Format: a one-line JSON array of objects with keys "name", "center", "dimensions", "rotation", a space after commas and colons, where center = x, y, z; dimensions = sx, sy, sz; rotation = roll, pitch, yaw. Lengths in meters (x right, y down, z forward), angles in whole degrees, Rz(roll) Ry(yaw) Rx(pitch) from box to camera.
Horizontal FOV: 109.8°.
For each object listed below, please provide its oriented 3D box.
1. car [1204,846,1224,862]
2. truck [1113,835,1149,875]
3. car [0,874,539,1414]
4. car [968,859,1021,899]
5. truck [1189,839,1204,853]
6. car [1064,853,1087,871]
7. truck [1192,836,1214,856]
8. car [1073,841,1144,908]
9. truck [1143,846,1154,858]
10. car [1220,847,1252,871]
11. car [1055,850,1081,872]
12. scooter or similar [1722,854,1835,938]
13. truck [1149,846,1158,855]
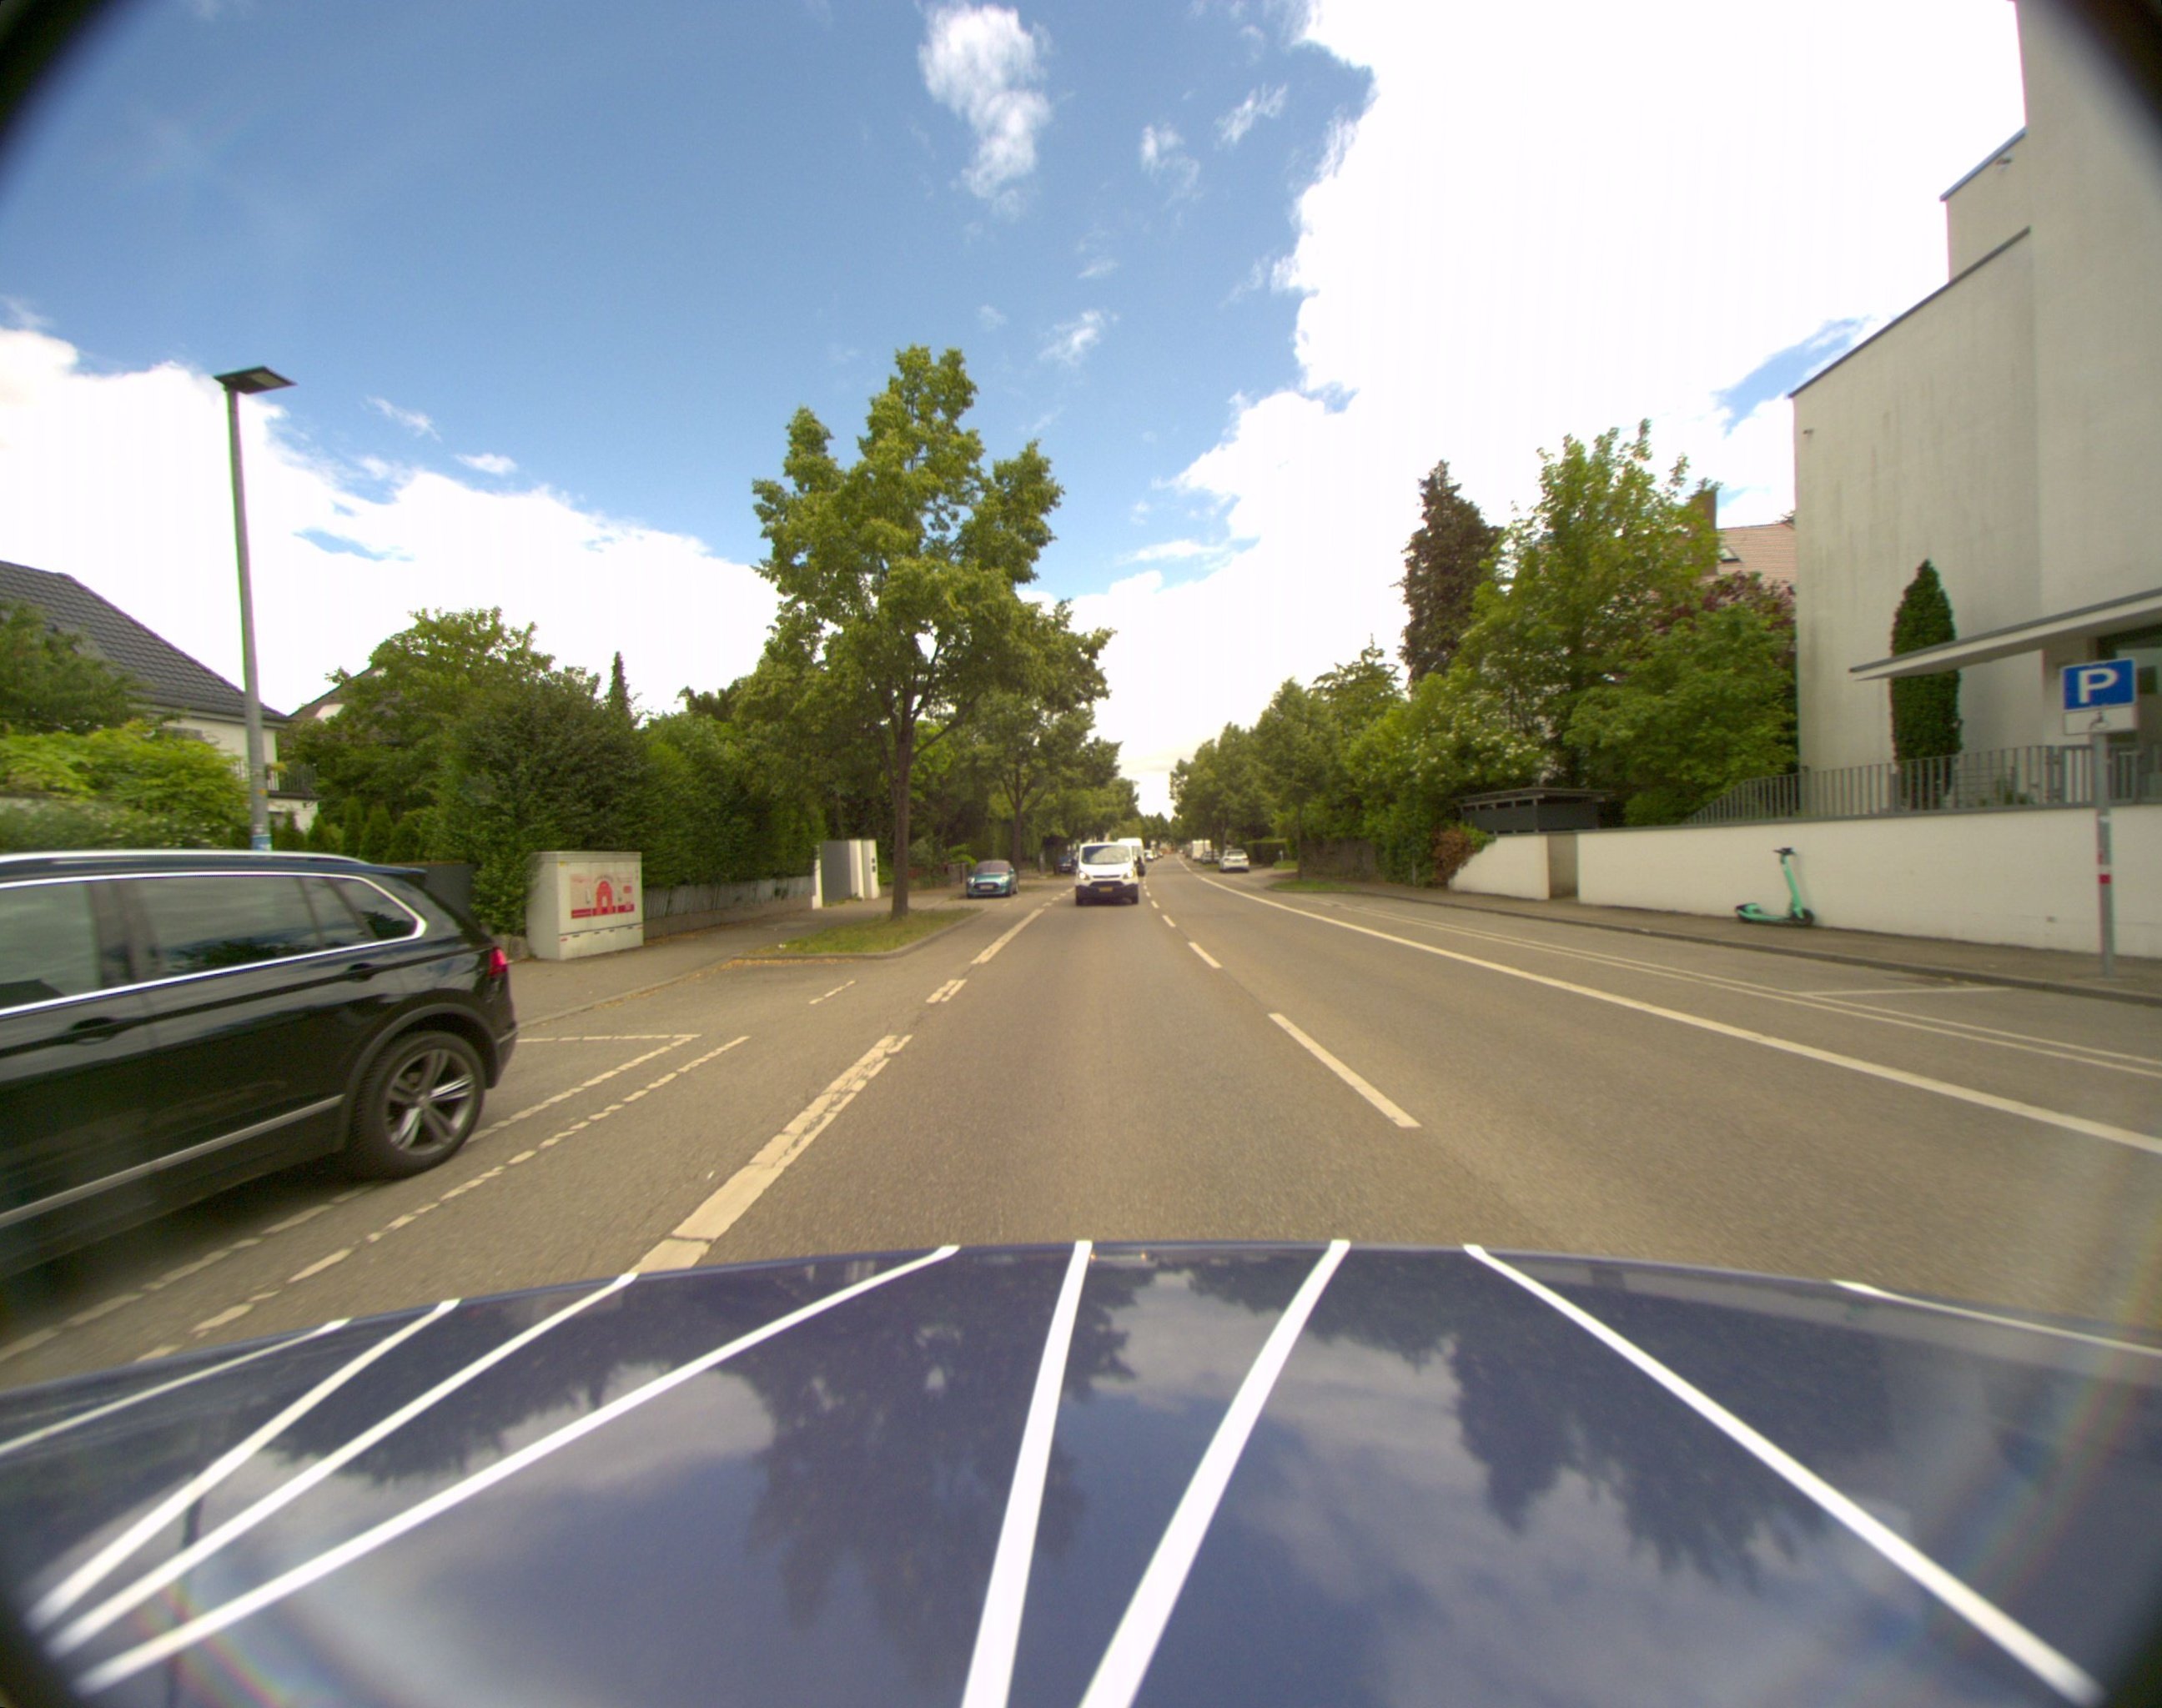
[{"name": "car", "center": [14.249, -0.009, 81.817], "dimensions": [1.888, 1.606, 4.002], "rotation": [-2, 0, 7]}, {"name": "truck", "center": [3.376, 0.039, 52.696], "dimensions": [2.036, 2.555, 6.057], "rotation": [-2, 0, 0]}, {"name": "car", "center": [-4.274, 0.959, 2.373], "dimensions": [1.770, 1.626, 4.548], "rotation": [-2, 0, 1]}, {"name": "car", "center": [-3.406, 0.963, 30.485], "dimensions": [1.667, 1.398, 3.657], "rotation": [-2, 1, 0]}, {"name": "truck", "center": [21.721, -1.579, 142.712], "dimensions": [1.999, 2.530, 4.498], "rotation": [-2, 1, 0]}, {"name": "car", "center": [-0.465, 0.677, 65.796], "dimensions": [1.740, 1.389, 3.705], "rotation": [-2, 0, 3]}, {"name": "truck", "center": [17.143, -1.153, 107.387], "dimensions": [2.640, 2.757, 6.259], "rotation": [-2, 1, 6]}, {"name": "car", "center": [0.984, 0.580, 25.485], "dimensions": [2.075, 1.956, 5.558], "rotation": [-1, 0, 3]}, {"name": "truck", "center": [10.095, -0.341, 113.990], "dimensions": [1.614, 1.780, 4.001], "rotation": [-2, 0, 5]}, {"name": "car", "center": [11.098, 0.337, 54.564], "dimensions": [1.916, 1.643, 4.002], "rotation": [-2, 0, 7]}, {"name": "car", "center": [-0.978, 0.539, 59.611], "dimensions": [1.776, 1.588, 3.815], "rotation": [-2, 0, 3]}, {"name": "scooter or similar", "center": [10.534, 0.601, 11.527], "dimensions": [0.434, 1.159, 1.327], "rotation": [-5, 0, 1]}, {"name": "truck", "center": [13.209, -0.596, 138.836], "dimensions": [1.618, 1.649, 4.001], "rotation": [-2, 0, 5]}]
